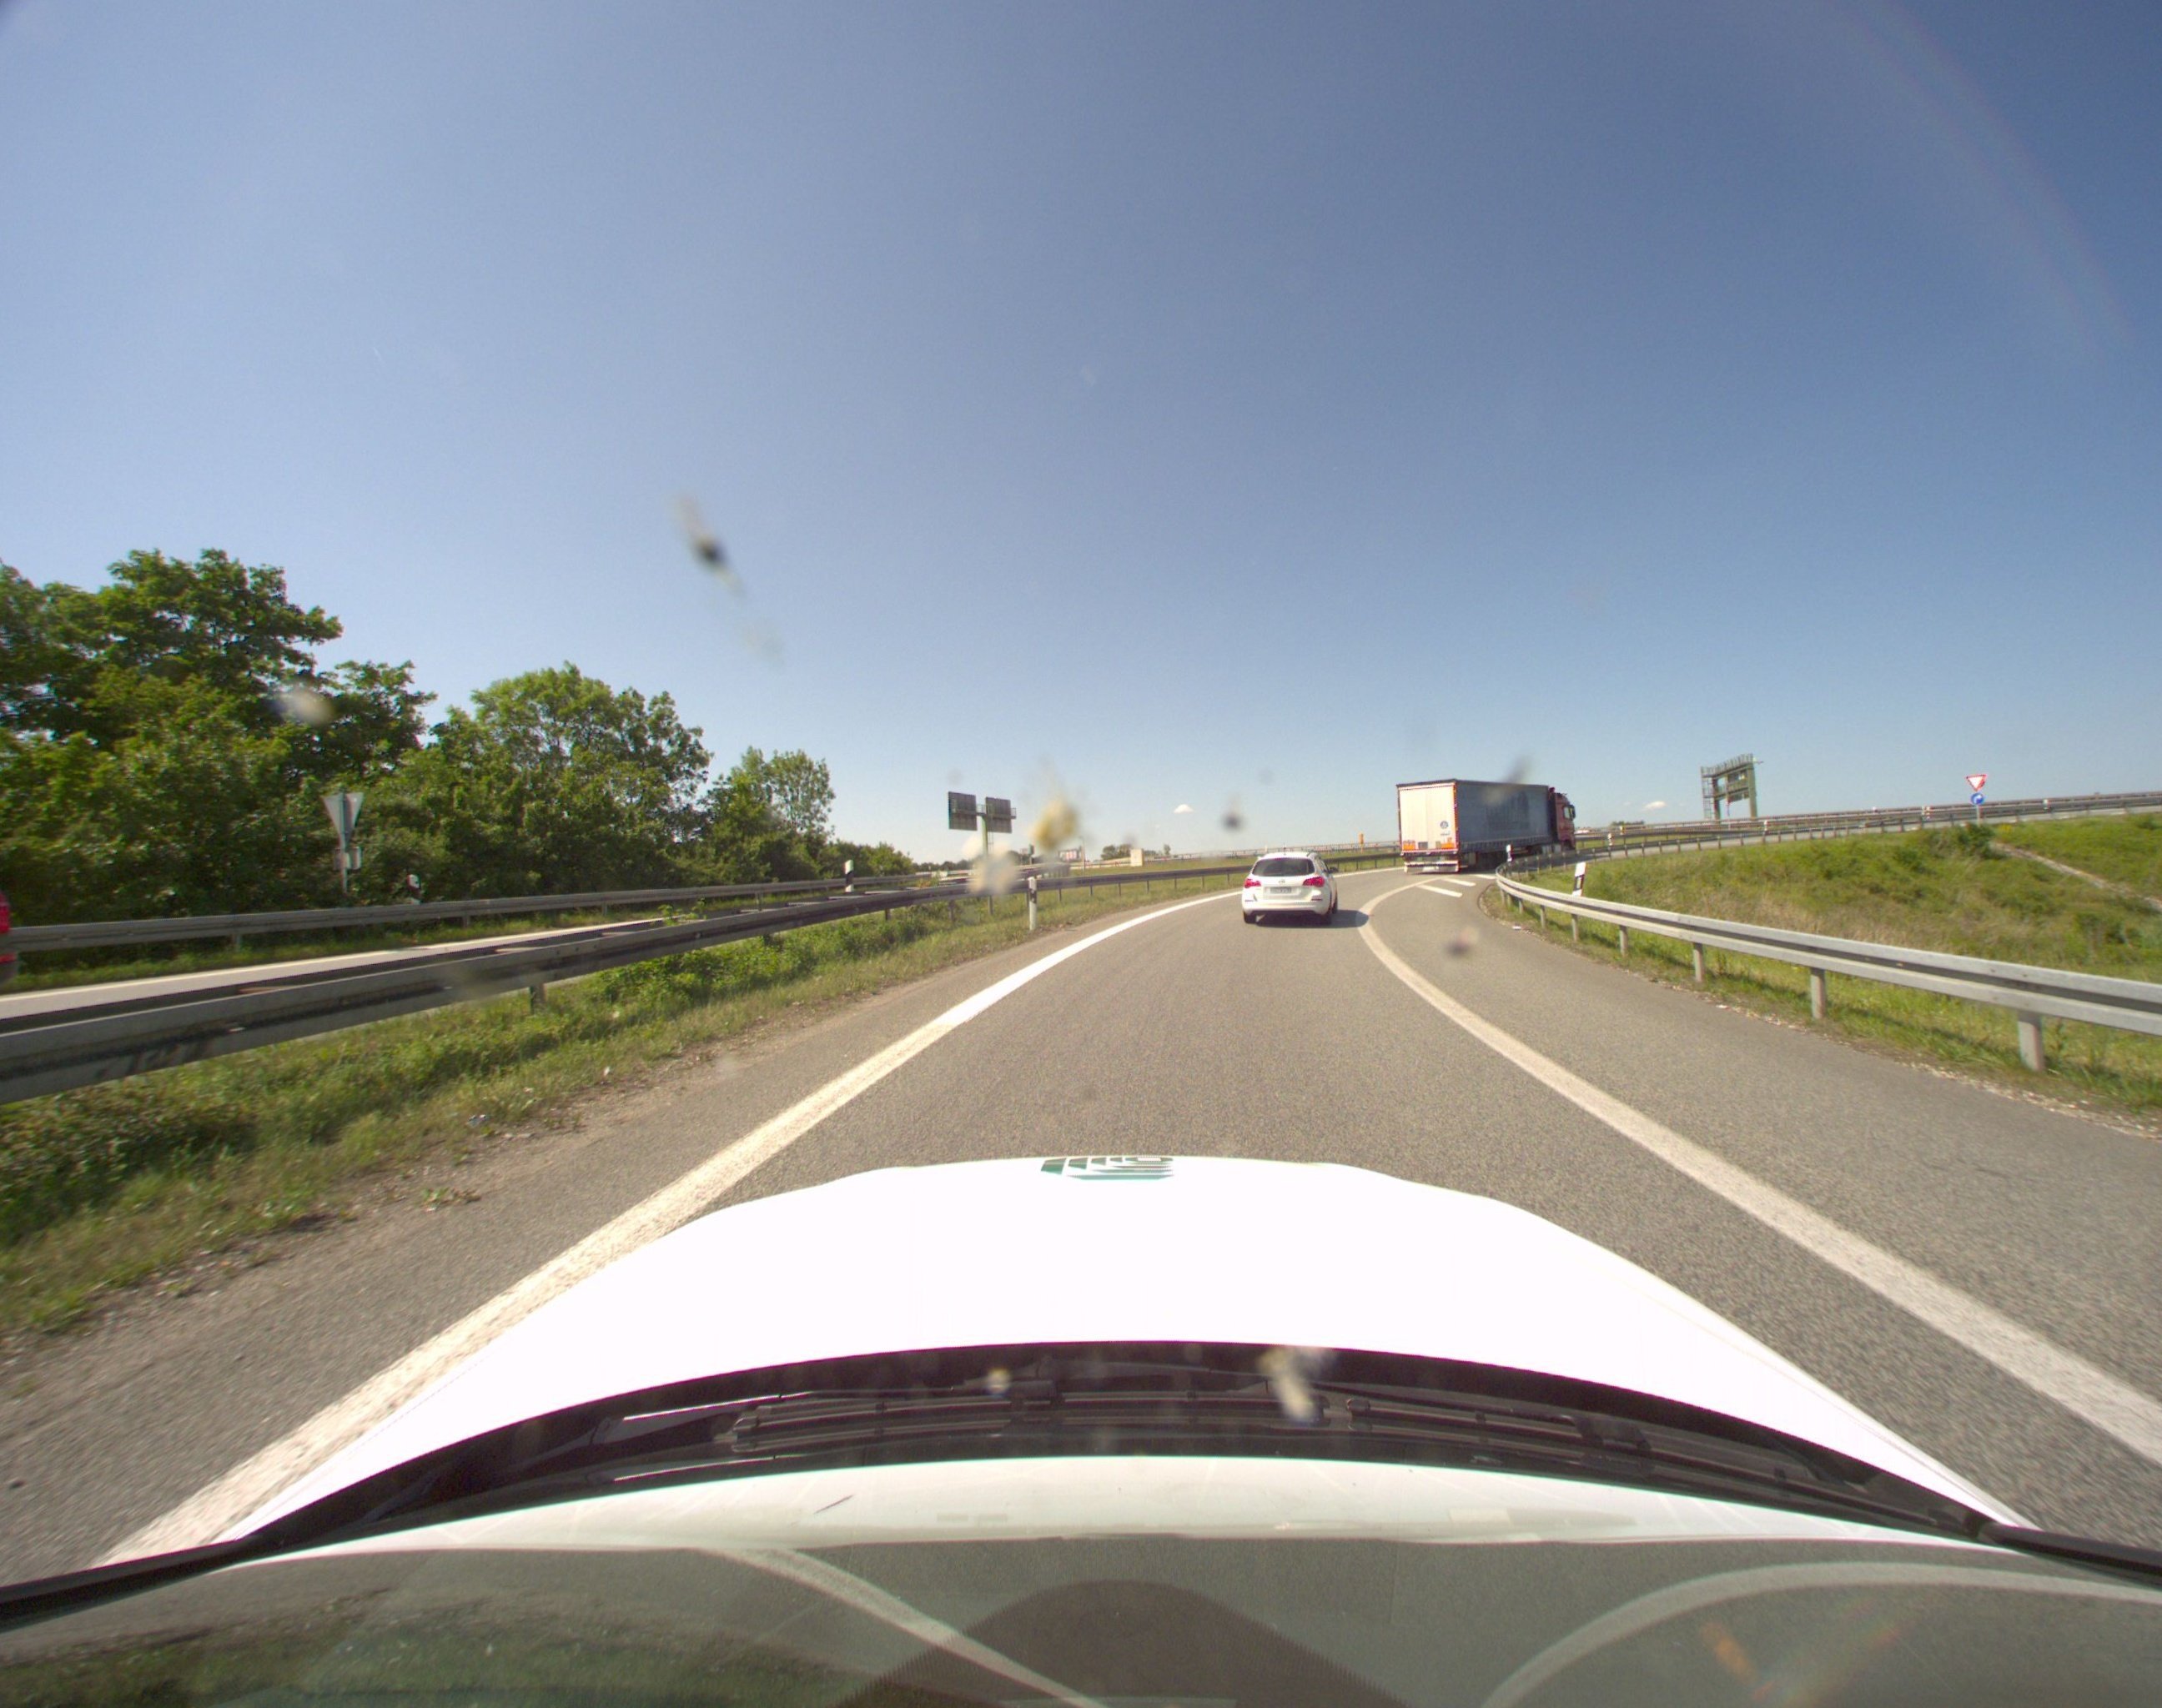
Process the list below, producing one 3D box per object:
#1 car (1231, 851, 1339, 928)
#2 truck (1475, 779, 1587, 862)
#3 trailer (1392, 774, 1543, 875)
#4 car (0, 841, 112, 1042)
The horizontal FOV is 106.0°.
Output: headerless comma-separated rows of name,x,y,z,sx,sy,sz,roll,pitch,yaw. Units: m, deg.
car,4.633,0.702,18.050,1.839,1.443,4.394,-2,0,20
truck,24.704,-1.840,44.570,6.962,4.145,2.887,-3,0,-40
trailer,18.783,-1.414,38.994,2.885,4.145,11.326,-3,0,44
car,-10.345,0.768,5.199,1.986,1.731,5.199,-1,0,1
